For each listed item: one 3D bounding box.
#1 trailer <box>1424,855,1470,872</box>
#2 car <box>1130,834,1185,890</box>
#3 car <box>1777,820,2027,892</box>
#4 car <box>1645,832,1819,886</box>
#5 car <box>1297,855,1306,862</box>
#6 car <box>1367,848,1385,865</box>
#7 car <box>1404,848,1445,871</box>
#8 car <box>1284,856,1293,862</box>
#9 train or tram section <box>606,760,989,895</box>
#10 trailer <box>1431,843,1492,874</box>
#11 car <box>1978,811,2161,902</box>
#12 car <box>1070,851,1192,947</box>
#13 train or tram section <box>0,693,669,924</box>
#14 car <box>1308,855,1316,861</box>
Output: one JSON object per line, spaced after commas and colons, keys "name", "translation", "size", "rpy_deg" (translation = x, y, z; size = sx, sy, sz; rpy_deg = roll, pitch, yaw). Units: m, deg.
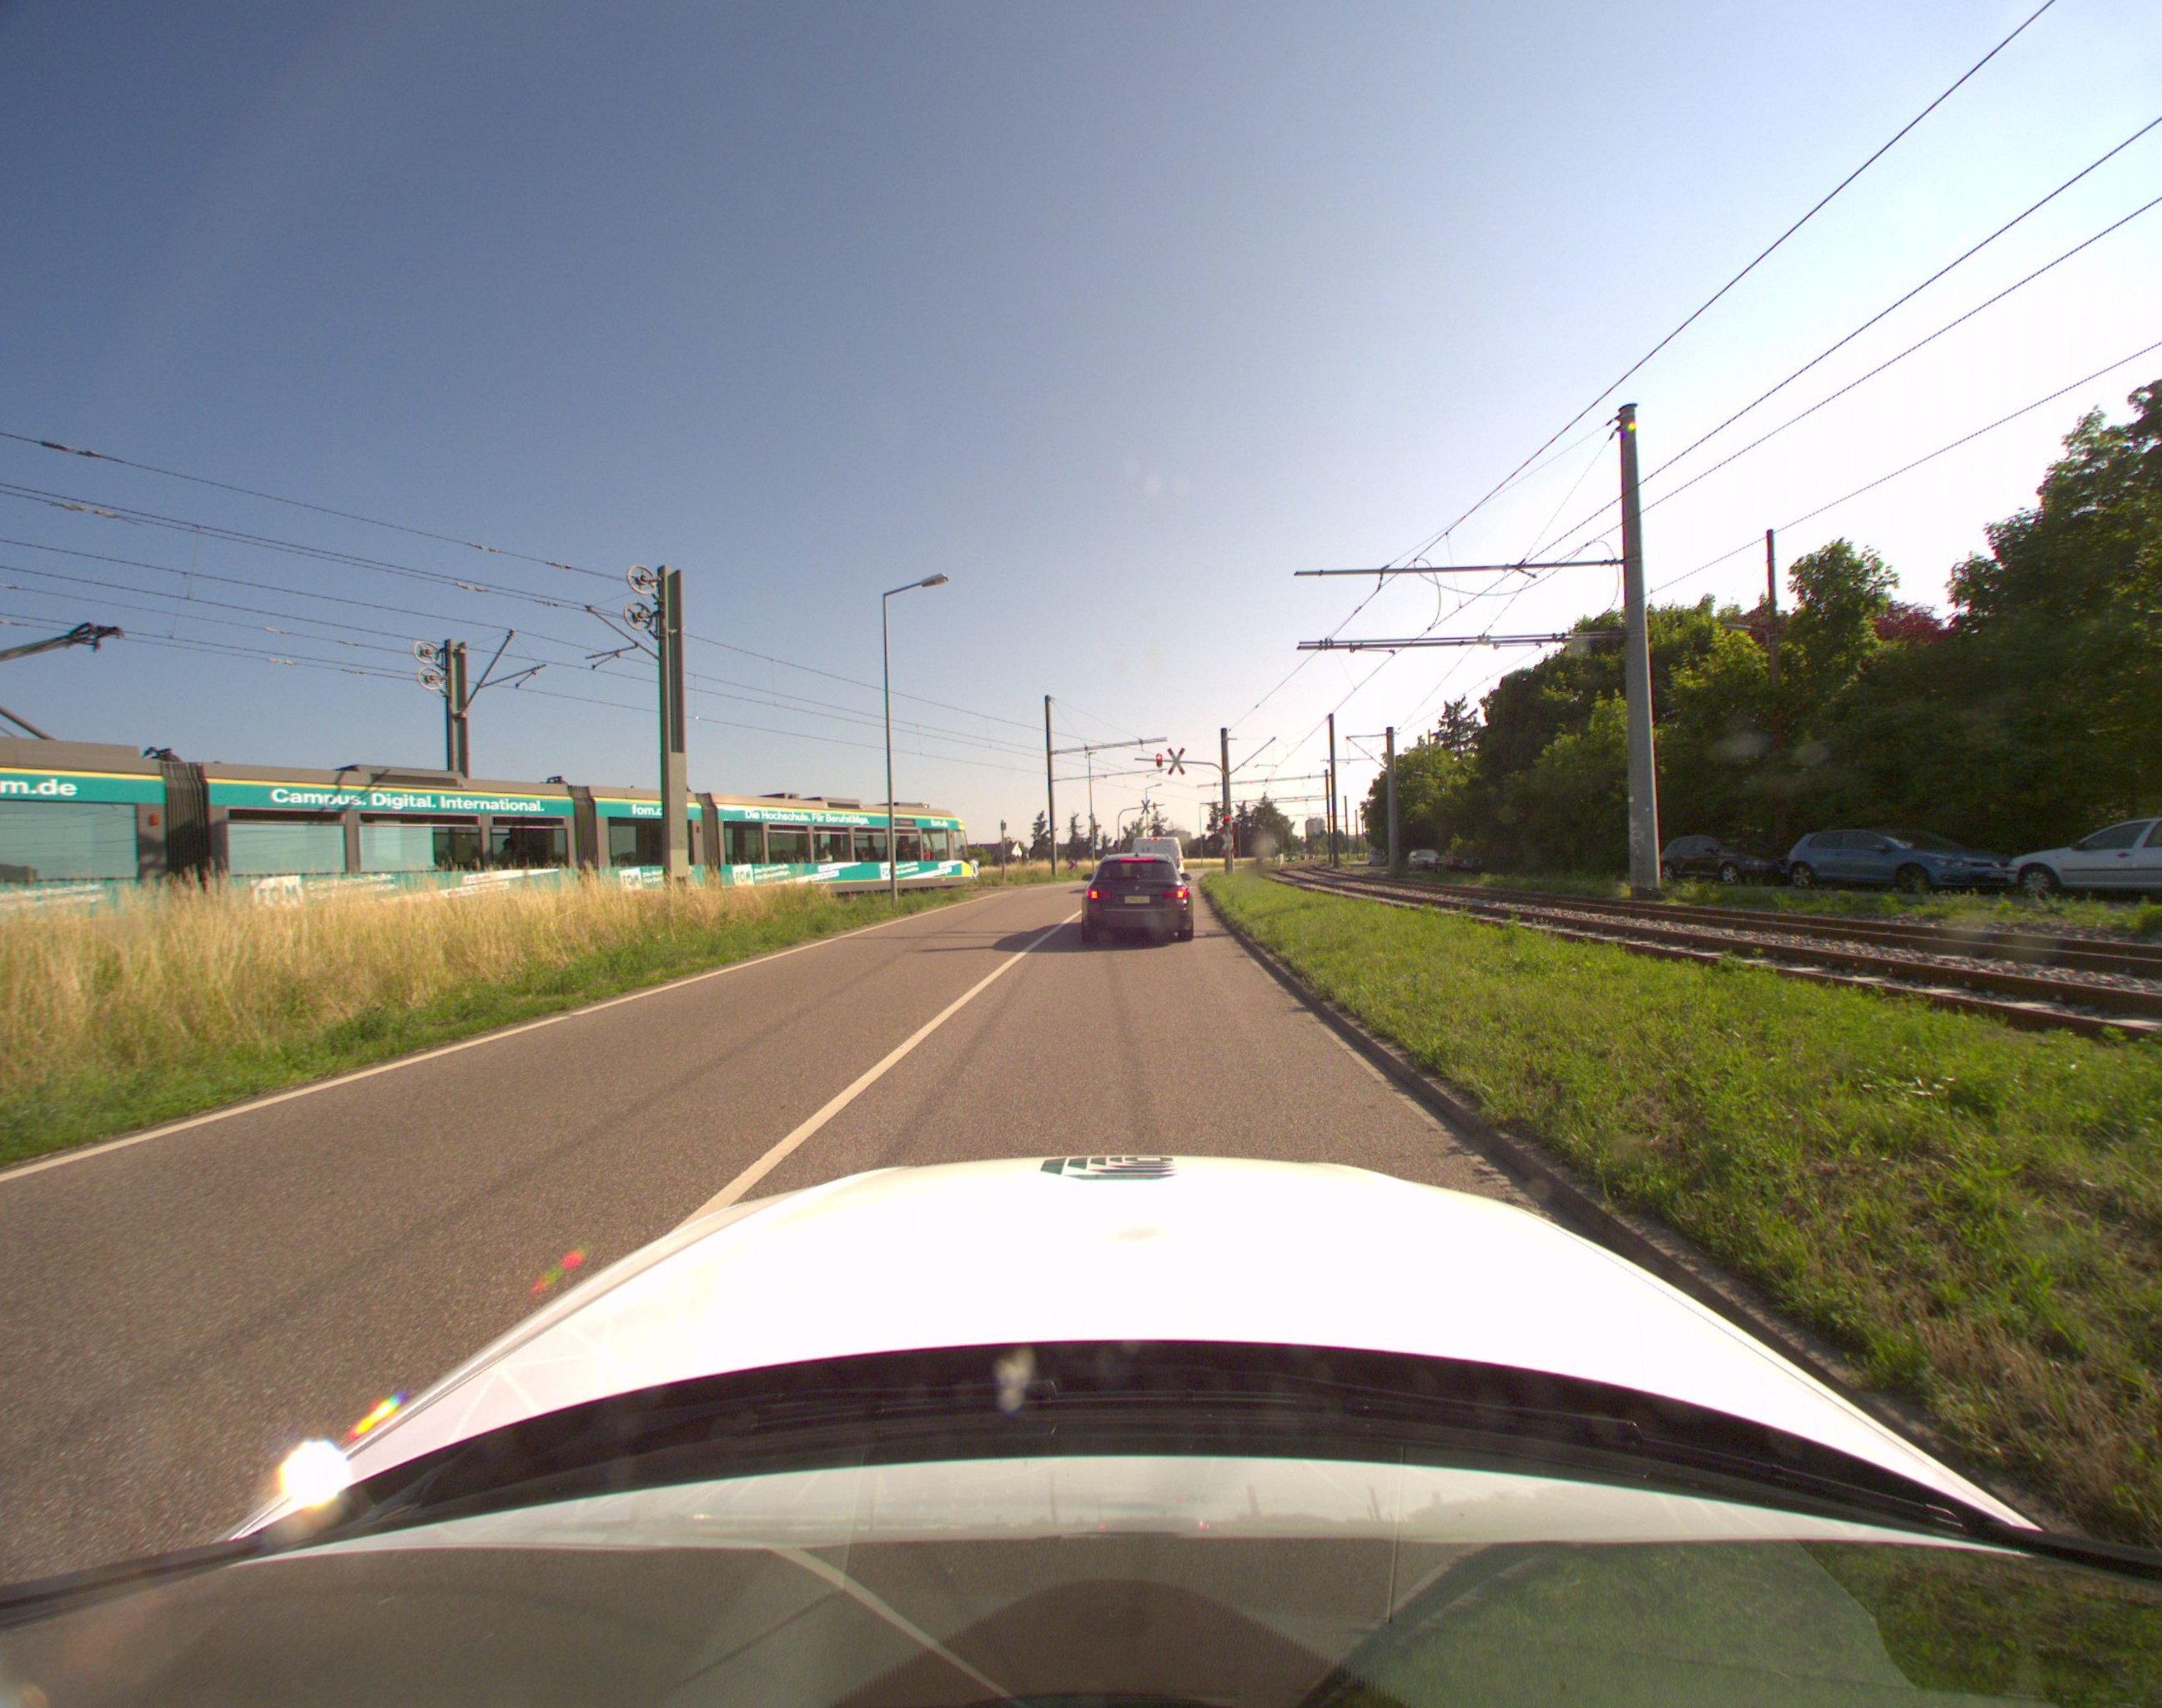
{"name": "trailer", "translation": [21.800, 0.578, 48.606], "size": [1.720, 0.939, 3.740], "rpy_deg": [1, 0, 12]}
{"name": "car", "translation": [3.091, 0.289, 31.864], "size": [1.847, 1.988, 5.120], "rpy_deg": [-1, 0, 8]}
{"name": "car", "translation": [18.351, 0.063, 18.508], "size": [1.479, 1.401, 4.150], "rpy_deg": [-2, -1, 0]}
{"name": "car", "translation": [18.641, 0.143, 23.625], "size": [1.616, 1.410, 4.525], "rpy_deg": [0, 0, 3]}
{"name": "car", "translation": [58.938, 1.227, 217.639], "size": [1.692, 1.665, 4.613], "rpy_deg": [-1, 0, 21]}
{"name": "car", "translation": [36.405, 0.286, 100.439], "size": [1.977, 2.004, 5.092], "rpy_deg": [1, 0, 20]}
{"name": "car", "translation": [22.449, 0.340, 53.350], "size": [1.686, 1.456, 4.899], "rpy_deg": [1, 0, 14]}
{"name": "car", "translation": [48.009, 1.143, 188.506], "size": [1.679, 1.439, 4.305], "rpy_deg": [-1, 0, 20]}
{"name": "train or tram section", "translation": [-8.579, -0.494, 28.453], "size": [2.879, 3.569, 14.346], "rpy_deg": [-1, -2, 29]}
{"name": "trailer", "translation": [20.786, 0.262, 44.672], "size": [2.013, 1.596, 4.272], "rpy_deg": [1, 0, 11]}
{"name": "car", "translation": [18.314, 0.008, 13.763], "size": [1.701, 1.465, 4.396], "rpy_deg": [-2, 0, 5]}
{"name": "car", "translation": [0.948, 0.691, 15.012], "size": [1.861, 1.452, 4.749], "rpy_deg": [-1, 0, 4]}
{"name": "train or tram section", "translation": [-15.141, -0.616, 16.807], "size": [2.889, 3.454, 12.240], "rpy_deg": [-1, -1, 30]}
{"name": "car", "translation": [67.015, 1.179, 236.227], "size": [1.697, 1.549, 3.950], "rpy_deg": [-2, 0, 23]}
